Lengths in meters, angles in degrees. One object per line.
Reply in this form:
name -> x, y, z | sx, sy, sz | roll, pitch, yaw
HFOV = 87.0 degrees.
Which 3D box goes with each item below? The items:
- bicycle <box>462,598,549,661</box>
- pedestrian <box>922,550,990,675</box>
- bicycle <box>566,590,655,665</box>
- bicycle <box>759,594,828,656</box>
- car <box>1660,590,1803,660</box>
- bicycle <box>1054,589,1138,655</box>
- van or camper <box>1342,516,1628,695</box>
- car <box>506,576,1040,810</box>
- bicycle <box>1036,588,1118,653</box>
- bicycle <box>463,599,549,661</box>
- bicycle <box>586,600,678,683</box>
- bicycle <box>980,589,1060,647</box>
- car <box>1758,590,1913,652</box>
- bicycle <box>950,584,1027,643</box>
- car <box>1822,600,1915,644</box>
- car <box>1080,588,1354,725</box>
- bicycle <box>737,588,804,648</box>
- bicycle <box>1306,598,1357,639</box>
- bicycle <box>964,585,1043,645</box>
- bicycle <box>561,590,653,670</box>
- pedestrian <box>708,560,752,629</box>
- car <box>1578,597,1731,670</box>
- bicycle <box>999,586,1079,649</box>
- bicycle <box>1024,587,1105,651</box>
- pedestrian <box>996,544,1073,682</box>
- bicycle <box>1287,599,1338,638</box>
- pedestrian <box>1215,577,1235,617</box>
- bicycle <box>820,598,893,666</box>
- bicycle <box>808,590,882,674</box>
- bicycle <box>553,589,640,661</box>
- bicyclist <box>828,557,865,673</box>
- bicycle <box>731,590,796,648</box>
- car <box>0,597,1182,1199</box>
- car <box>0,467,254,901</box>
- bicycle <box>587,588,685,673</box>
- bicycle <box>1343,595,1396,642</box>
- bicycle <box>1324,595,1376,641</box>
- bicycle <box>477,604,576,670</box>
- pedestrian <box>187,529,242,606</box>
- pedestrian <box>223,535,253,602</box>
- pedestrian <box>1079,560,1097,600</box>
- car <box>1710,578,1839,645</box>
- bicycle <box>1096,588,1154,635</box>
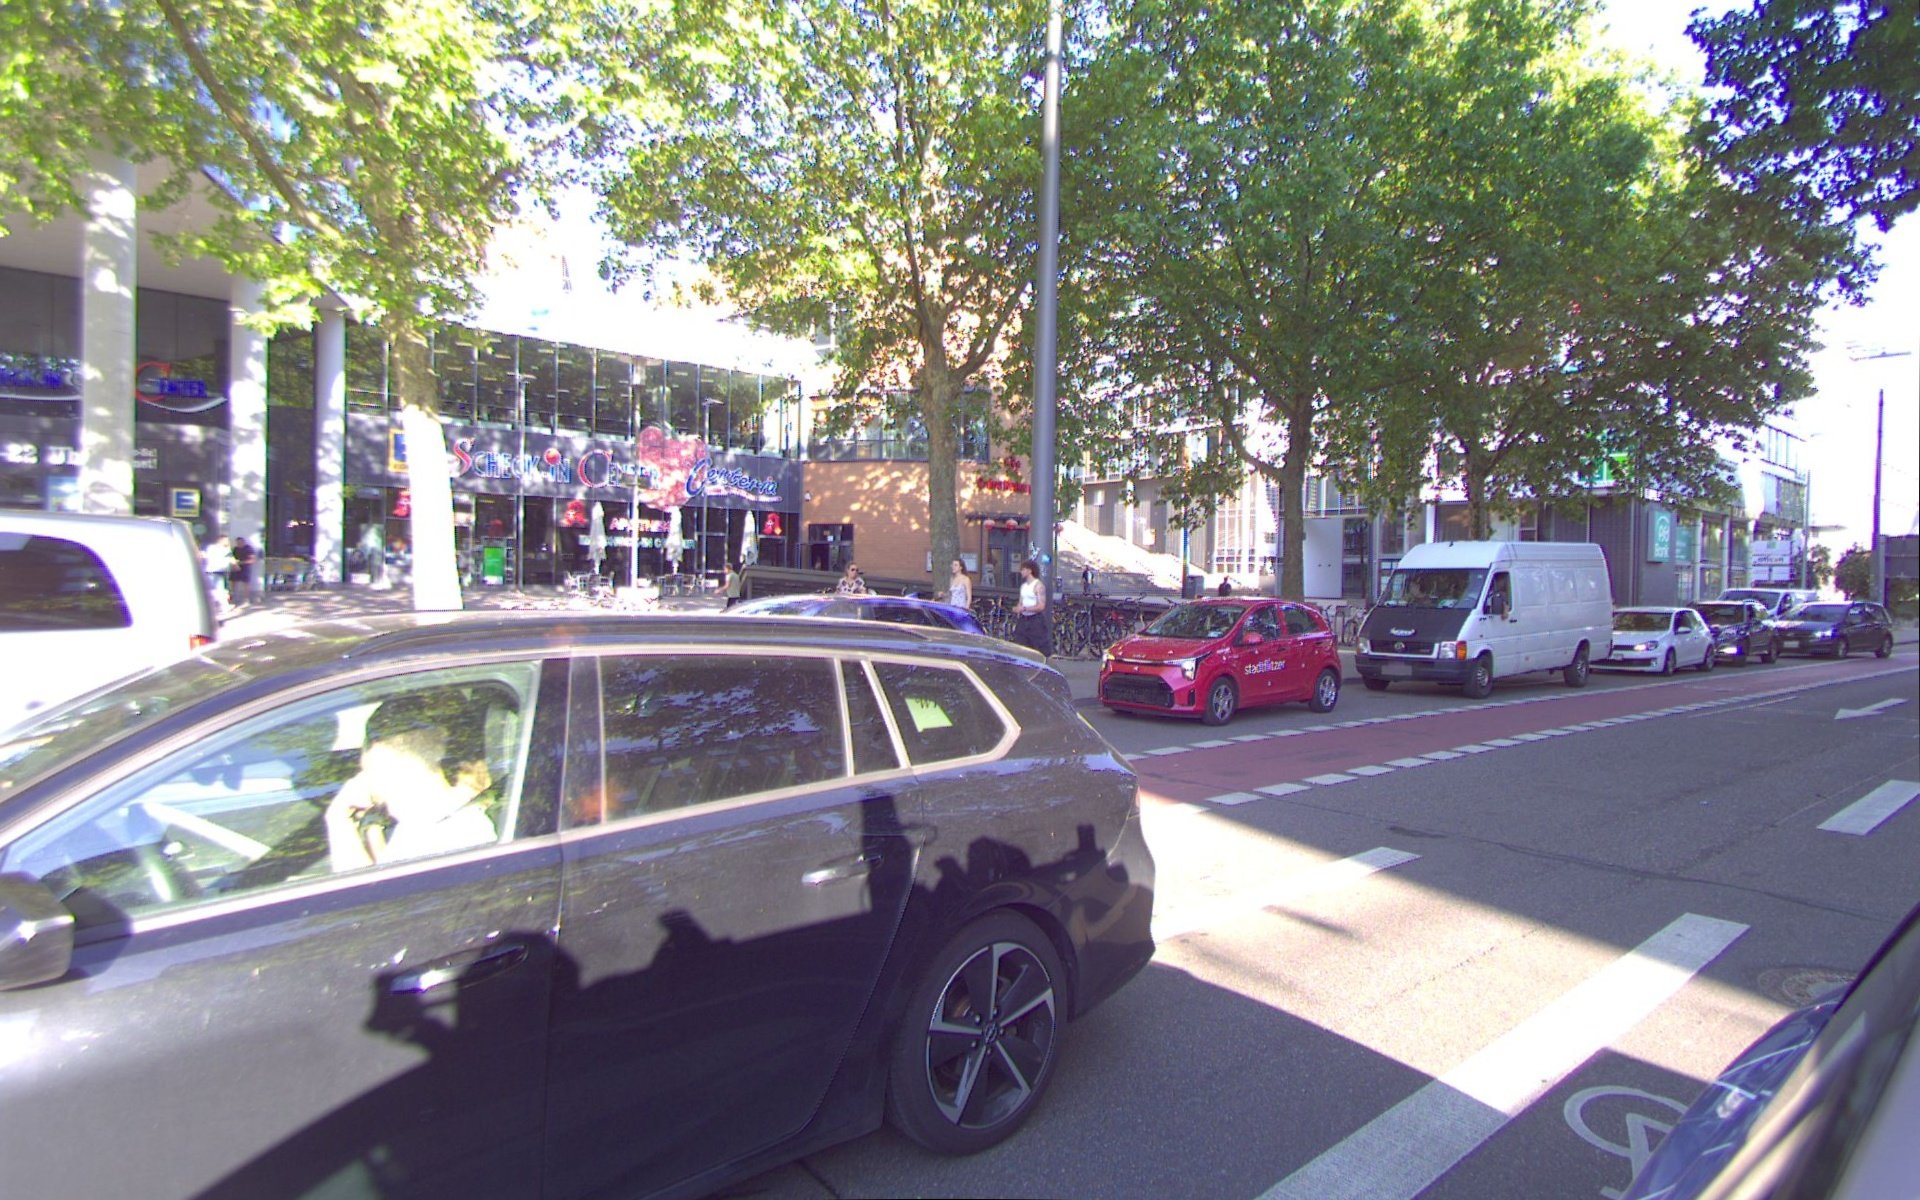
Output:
bicycle -> -6.961, 0.452, 15.538 | 1.198, 0.930, 0.442 | 1, 1, -22
pedestrian -> -0.059, 0.167, 15.082 | 0.646, 1.799, 0.752 | 2, 1, 43
bicycle -> -5.362, 0.404, 15.583 | 0.372, 1.110, 1.269 | 2, 1, 41
bicycle -> -3.099, 0.443, 18.848 | 1.202, 1.110, 0.427 | 0, 1, -40
car -> 19.700, 0.589, 25.791 | 4.148, 1.640, 1.819 | 0, 1, -36
bicycle -> 2.618, 0.397, 19.360 | 1.818, 1.209, 0.481 | 0, 1, -41
van or camper -> 9.287, 0.067, 17.553 | 6.456, 2.611, 1.998 | 0, 0, -39
car -> -1.412, 0.591, 8.636 | 4.177, 1.503, 1.742 | 0, 2, -41
bicycle -> 2.296, 0.386, 19.746 | 1.818, 1.209, 0.448 | 0, 1, -41
bicycle -> -7.124, 0.461, 15.916 | 1.198, 0.938, 0.465 | 1, 1, -22
bicycle -> -4.583, 0.563, 14.176 | 1.202, 1.110, 0.269 | 0, 1, -40
bicycle -> 1.253, 0.350, 20.964 | 1.818, 1.139, 0.484 | 0, 2, -41
car -> 25.221, 0.578, 29.147 | 4.242, 1.640, 1.970 | 0, 1, -28
bicycle -> 0.634, 0.270, 21.697 | 1.818, 1.209, 0.434 | 0, 1, -41
car -> 32.297, 0.737, 35.942 | 3.927, 1.394, 1.802 | 0, 2, -38
car -> 3.336, 0.606, 12.820 | 3.588, 1.476, 1.605 | 0, 1, -41
bicycle -> -3.646, 0.342, 19.501 | 1.202, 1.110, 0.444 | 0, 1, -40
bicycle -> 10.306, 0.494, 28.040 | 1.766, 1.108, 0.522 | 0, 2, -41
bicycle -> 0.932, 0.295, 21.344 | 1.818, 1.209, 0.458 | 0, 1, -41
bicycle -> -5.160, 0.422, 14.835 | 1.202, 1.110, 0.396 | 0, 1, -40
pedestrian -> -5.865, -0.143, 25.806 | 0.798, 1.728, 0.711 | 2, 1, 26
car -> 15.271, 0.676, 22.204 | 3.927, 1.446, 1.683 | 0, 1, -38
bicycle -> 1.626, 0.337, 20.515 | 1.818, 1.209, 0.447 | 0, 1, -41
bicycle -> 2.107, 0.361, 20.254 | 1.818, 1.209, 0.484 | 0, 1, -41
pedestrian -> 1.067, 0.169, 14.422 | 0.640, 1.867, 0.803 | 6, 4, 35
bicycle -> 9.922, 0.504, 28.450 | 1.818, 1.046, 0.515 | 0, 2, -41
pedestrian -> 10.557, -0.122, 40.327 | 0.707, 1.578, 0.638 | 1, 1, 14
bicycle -> -1.741, 0.522, 17.107 | 1.202, 1.110, 0.420 | 0, 1, -40
bicycle -> -1.784, 0.480, 15.776 | 1.126, 1.271, 0.379 | 0, 1, -41
bicycle -> -5.863, 0.378, 16.348 | 0.414, 1.110, 1.269 | 2, 1, 41
bicyclist -> -1.772, 0.226, 15.776 | 0.392, 1.782, 0.390 | 0, 1, -41
bicycle -> -3.890, 0.371, 20.044 | 1.202, 1.110, 0.429 | 0, 1, -40
car -> -1.451, 0.712, 2.442 | 4.196, 1.432, 1.742 | 0, 0, -41
car -> -6.214, 0.358, 4.383 | 5.008, 2.004, 1.940 | 0, 2, -41
bicycle -> -4.438, 0.397, 13.879 | 1.202, 1.110, 0.413 | 0, 1, -40
bicycle -> 11.030, 0.476, 27.228 | 1.818, 1.209, 0.521 | 0, 2, -41
bicycle -> 10.661, 0.483, 27.628 | 1.818, 1.209, 0.495 | 0, 1, -41
bicycle -> -6.241, 0.517, 14.591 | 1.231, 0.898, 0.462 | 0, 1, -40
pedestrian -> -18.039, -0.787, 24.488 | 0.870, 1.805, 0.603 | 1, 1, 1
pedestrian -> -18.718, -0.802, 26.239 | 0.506, 1.707, 0.604 | 1, 1, -23
pedestrian -> 6.658, -1.031, 52.733 | 0.861, 2.062, 0.585 | 1, 1, 6
car -> 26.490, 0.343, 32.872 | 4.863, 2.020, 1.968 | 0, 1, -35
bicycle -> 4.414, 0.305, 27.030 | 1.759, 1.209, 0.517 | 0, 2, -41
